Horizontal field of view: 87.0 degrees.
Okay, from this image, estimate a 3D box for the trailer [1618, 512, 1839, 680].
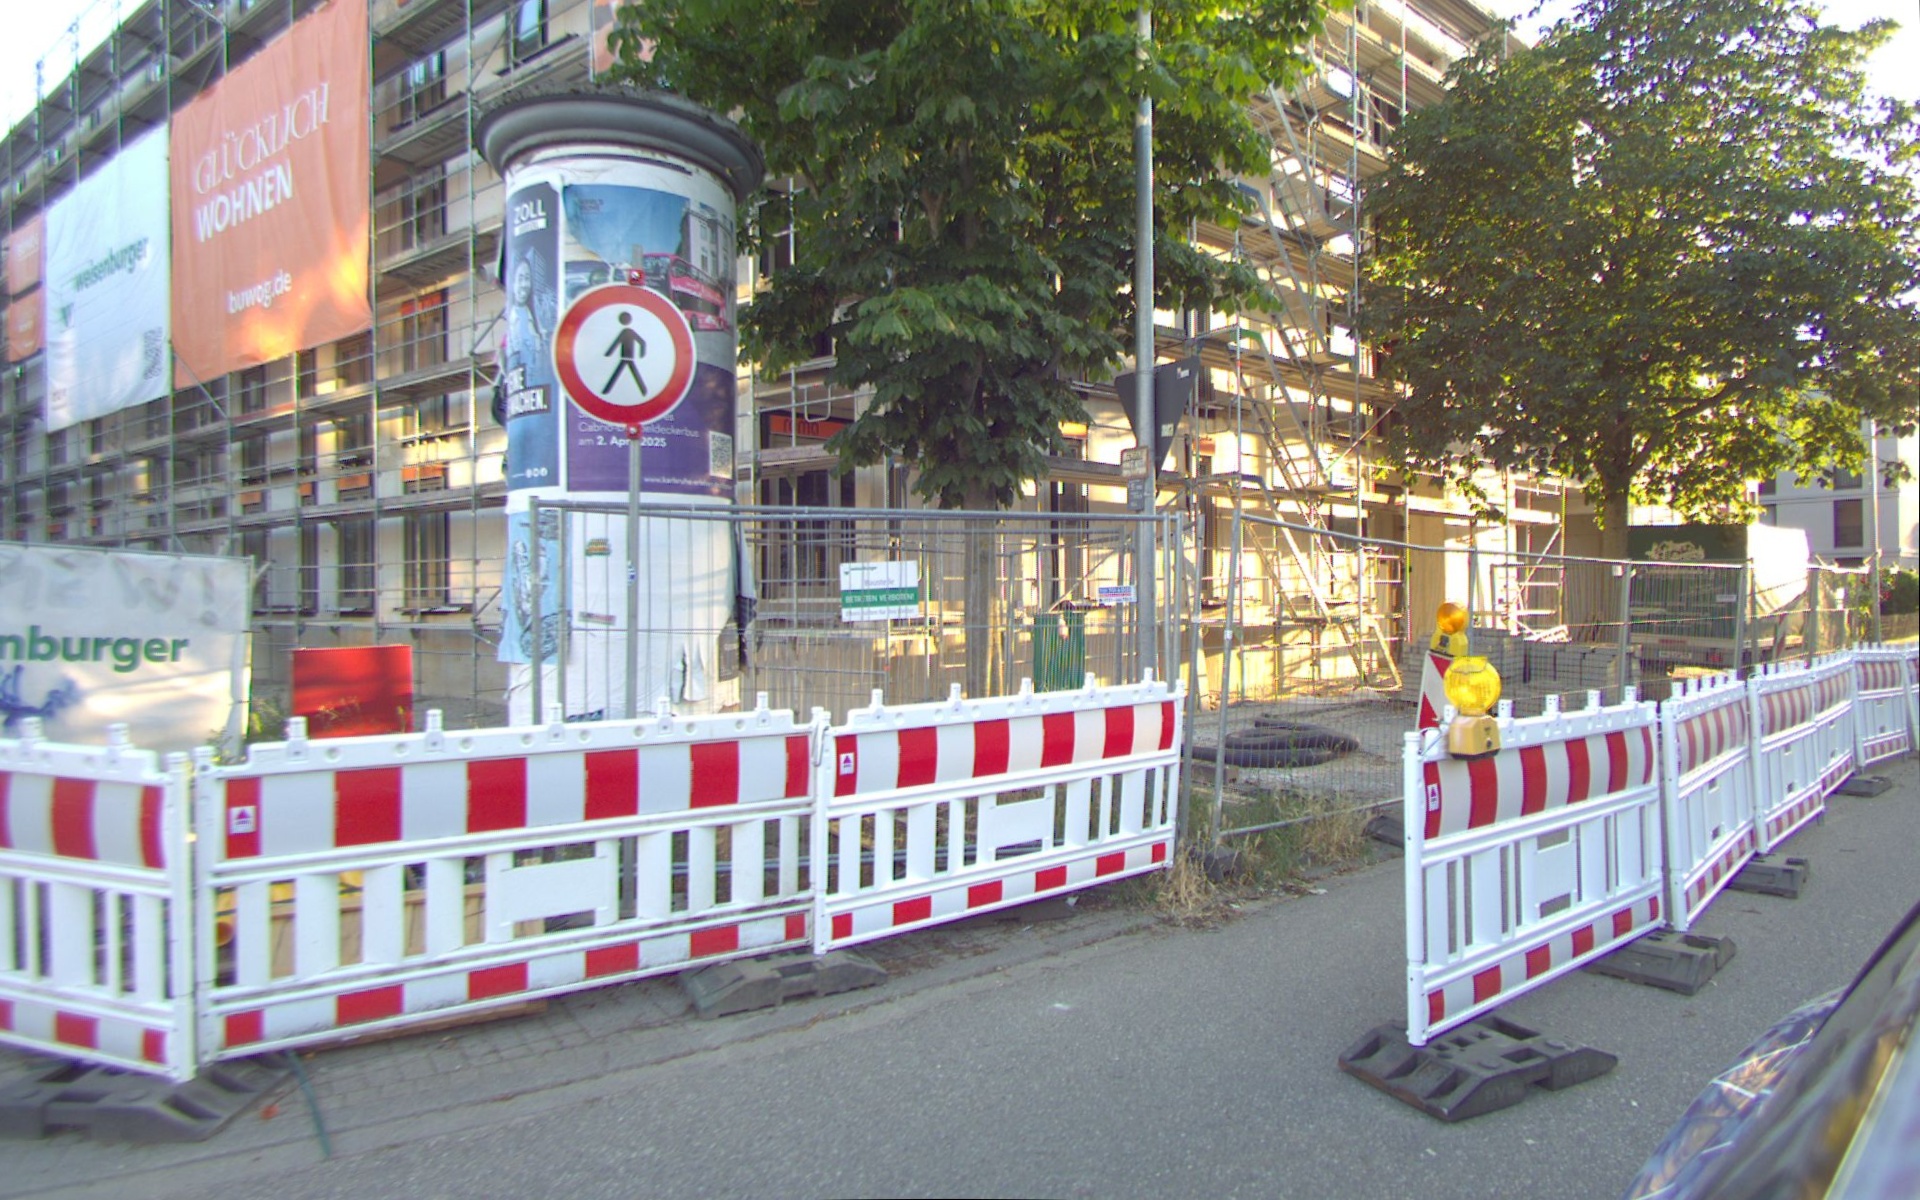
[{"bbox_3d":[13.378,-0.066,17.563,4.108,2.572,1.999,0,-1,-37],"label":"trailer"}]
